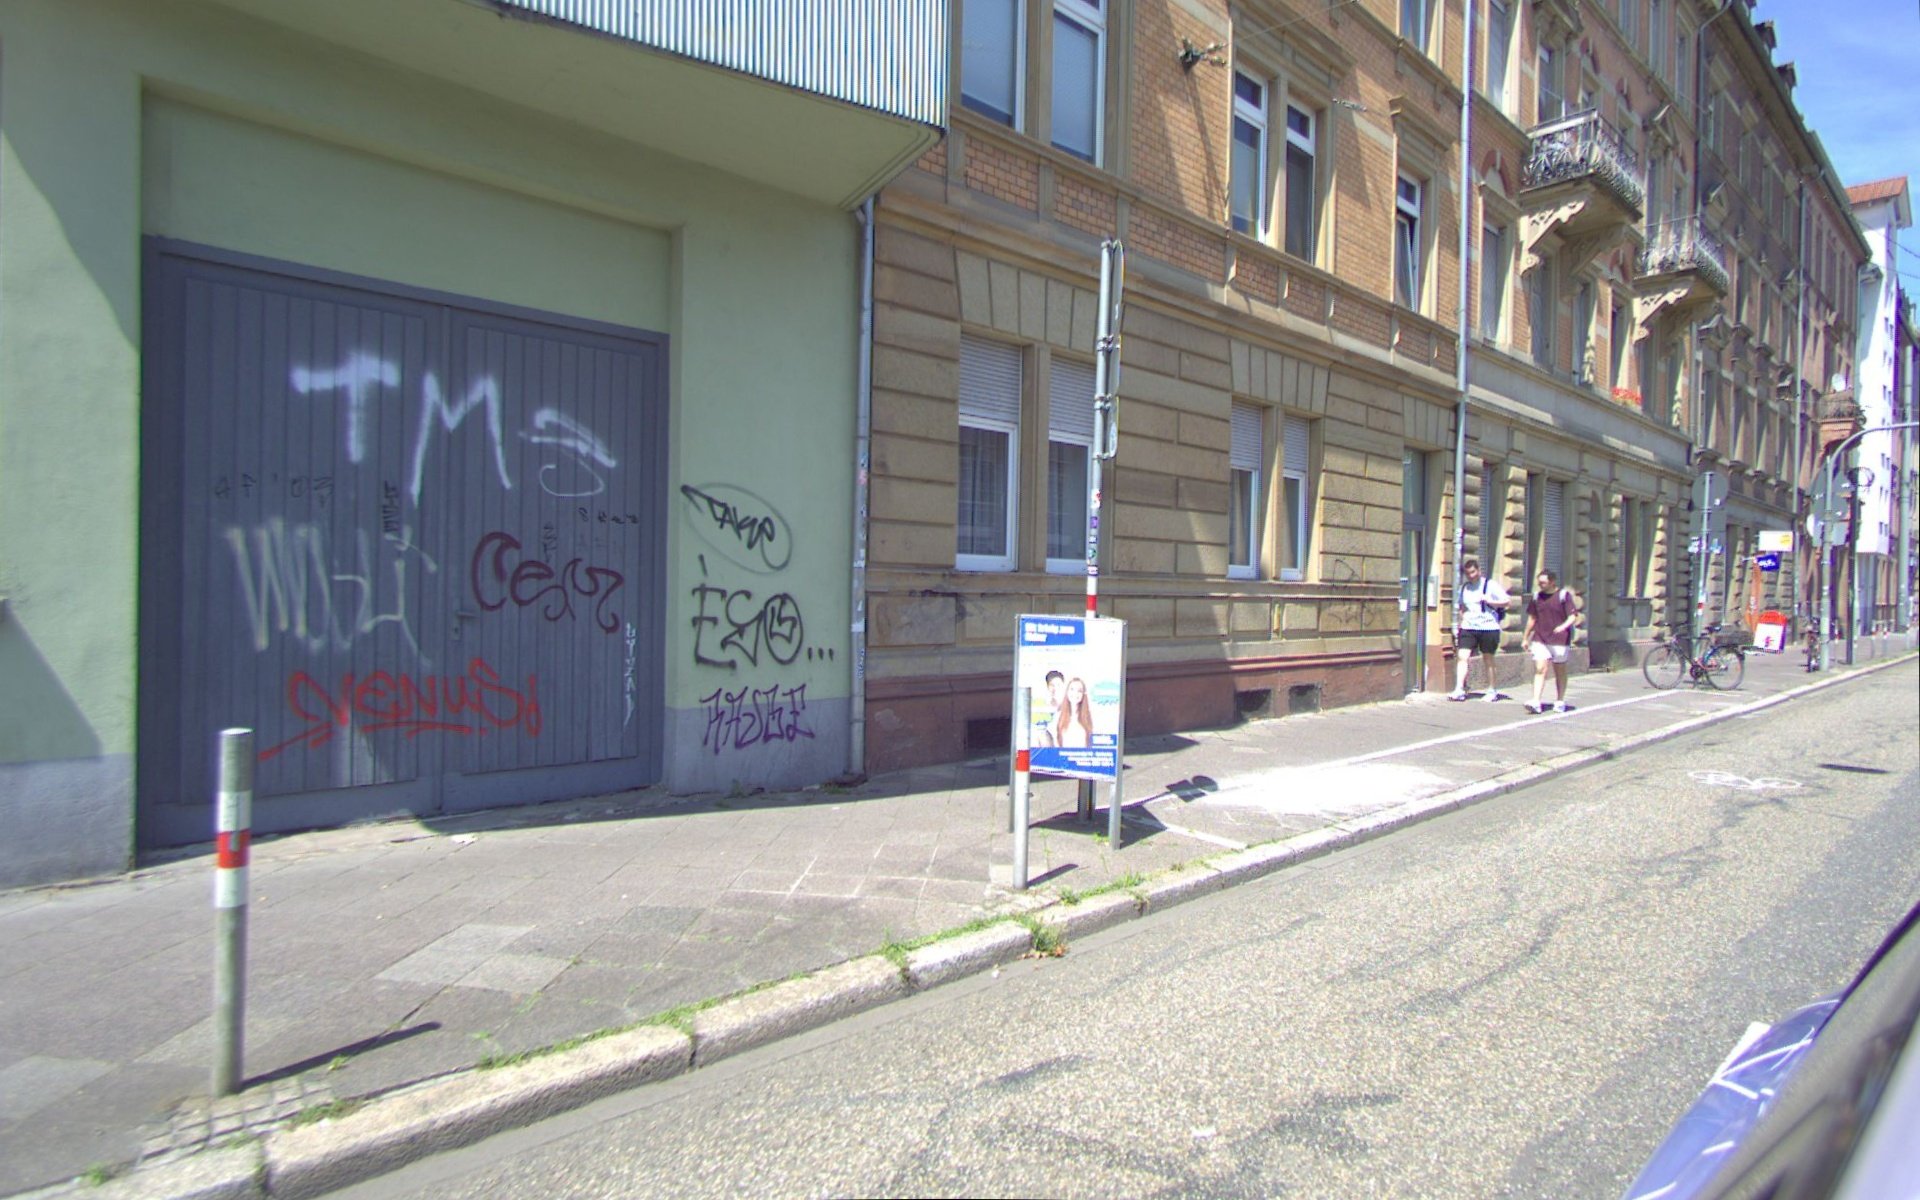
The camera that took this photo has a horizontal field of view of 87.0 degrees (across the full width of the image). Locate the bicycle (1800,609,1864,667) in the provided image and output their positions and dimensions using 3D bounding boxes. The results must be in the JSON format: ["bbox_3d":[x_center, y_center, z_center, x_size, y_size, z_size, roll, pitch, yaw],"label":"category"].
[{"bbox_3d":[18.069,0.761,20.948,2.377,1.110,0.449,0,1,-36],"label":"bicycle"}]

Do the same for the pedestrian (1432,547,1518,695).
[{"bbox_3d":[6.846,0.257,13.463,0.632,1.870,0.704,1,4,-40],"label":"pedestrian"}]

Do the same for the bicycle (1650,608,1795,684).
[{"bbox_3d":[12.107,0.735,16.074,2.196,1.144,0.501,1,1,-13],"label":"bicycle"}]

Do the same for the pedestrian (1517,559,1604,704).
[{"bbox_3d":[7.497,0.369,12.641,0.632,1.741,0.722,1,1,-40],"label":"pedestrian"}]
